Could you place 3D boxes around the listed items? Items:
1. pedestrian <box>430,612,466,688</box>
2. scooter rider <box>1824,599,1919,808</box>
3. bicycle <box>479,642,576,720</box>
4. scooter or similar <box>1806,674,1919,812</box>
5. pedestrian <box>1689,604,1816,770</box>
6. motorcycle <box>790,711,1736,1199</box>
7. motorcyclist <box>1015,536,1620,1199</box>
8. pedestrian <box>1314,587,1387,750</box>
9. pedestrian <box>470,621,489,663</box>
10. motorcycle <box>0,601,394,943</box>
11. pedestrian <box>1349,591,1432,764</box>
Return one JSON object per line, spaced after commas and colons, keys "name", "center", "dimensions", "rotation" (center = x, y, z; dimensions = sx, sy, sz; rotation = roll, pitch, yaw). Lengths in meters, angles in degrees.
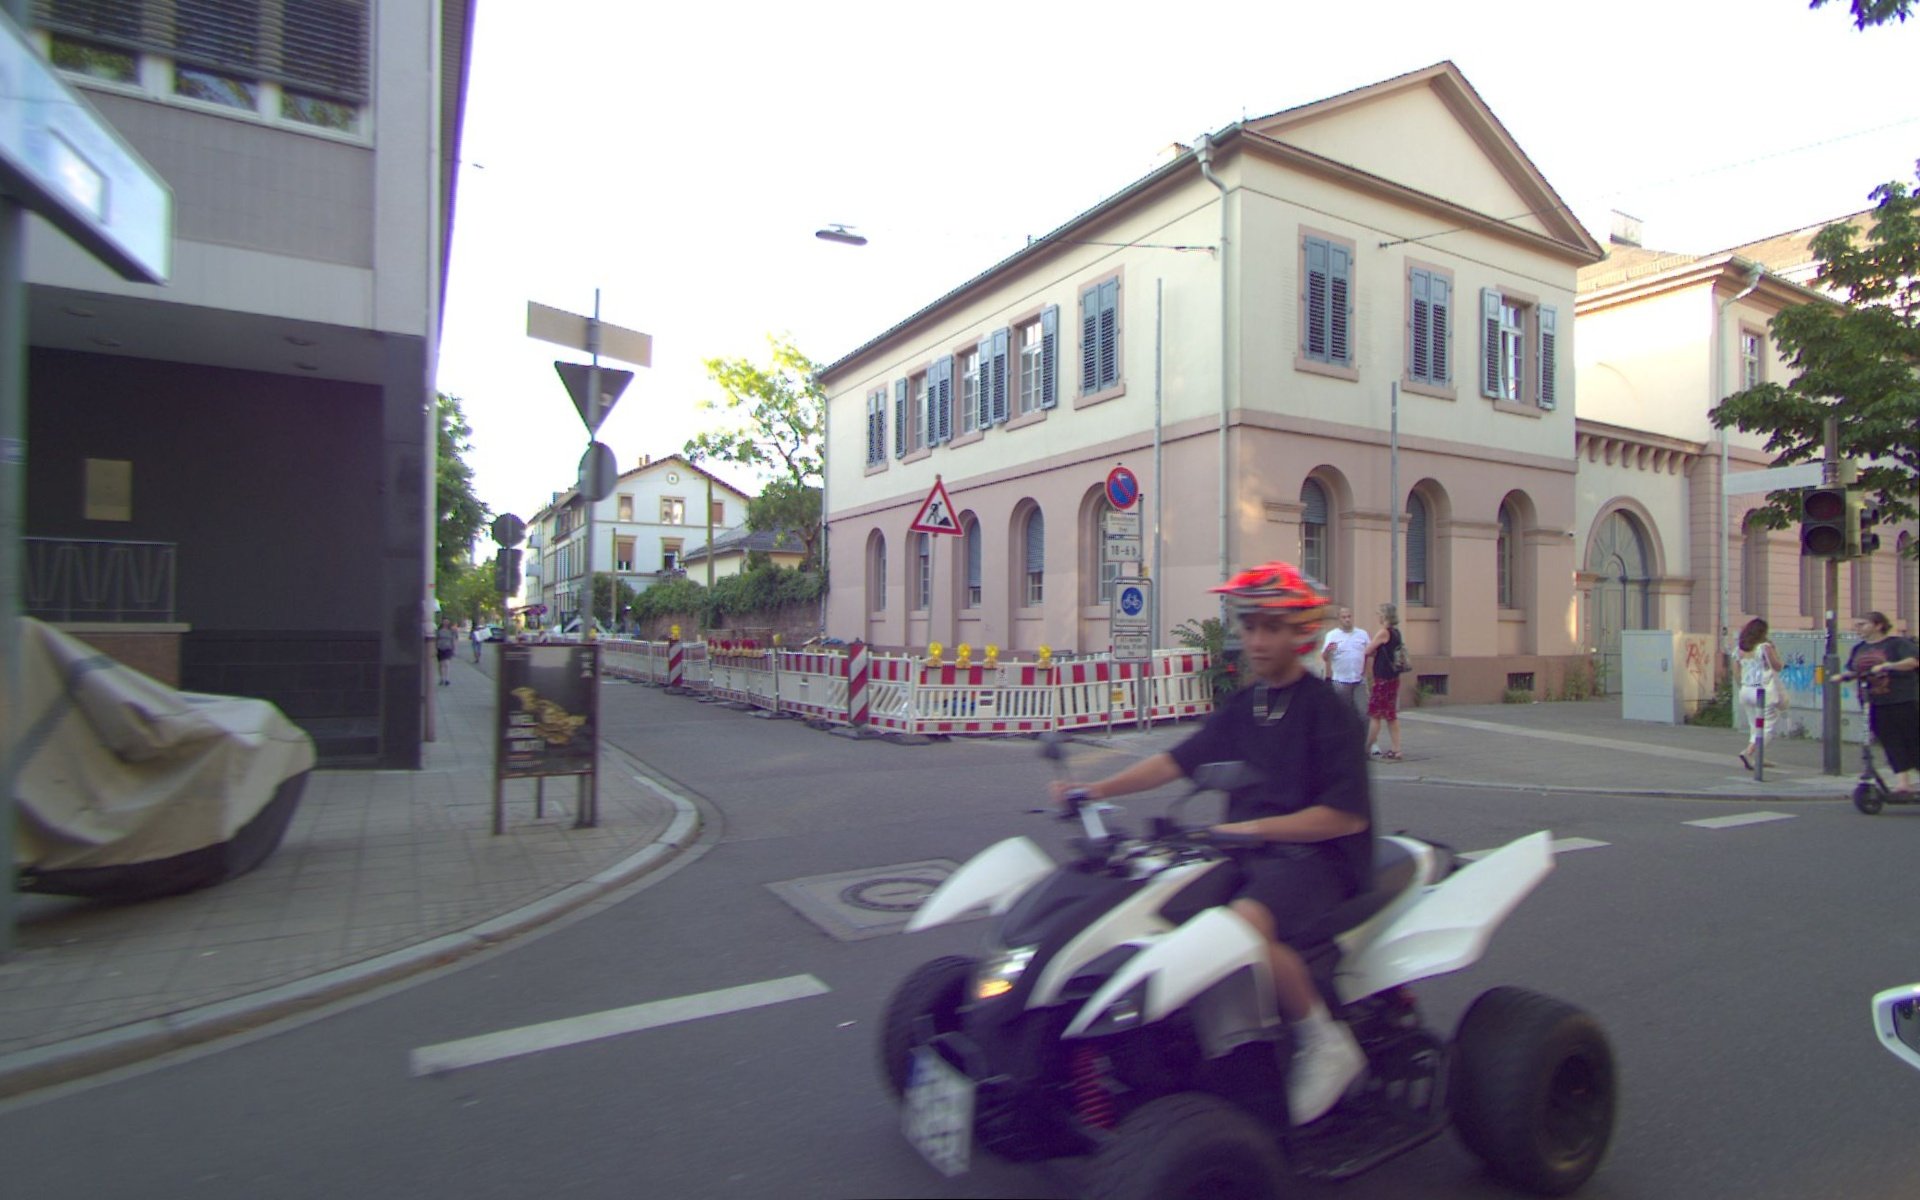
{"name": "pedestrian", "center": [-12.096, 1.177, 23.717], "dimensions": [0.579, 1.734, 0.650], "rotation": [6, -4, -30]}
{"name": "scooter rider", "center": [8.407, 0.913, 9.115], "dimensions": [0.861, 1.815, 0.493], "rotation": [1, -1, -20]}
{"name": "bicycle", "center": [-7.385, 1.343, 17.093], "dimensions": [2.206, 1.160, 0.719], "rotation": [1, -1, 45]}
{"name": "scooter or similar", "center": [8.336, 1.264, 9.082], "dimensions": [1.231, 1.160, 0.501], "rotation": [2, -2, -20]}
{"name": "pedestrian", "center": [9.103, 0.974, 11.563], "dimensions": [0.757, 1.815, 0.791], "rotation": [1, 1, -10]}
{"name": "motorcycle", "center": [0.870, 0.959, 2.843], "dimensions": [2.368, 1.104, 1.306], "rotation": [1, -2, -30]}
{"name": "motorcyclist", "center": [0.951, 0.697, 2.916], "dimensions": [1.064, 1.613, 1.274], "rotation": [1, -2, -29]}
{"name": "pedestrian", "center": [4.629, 0.797, 11.935], "dimensions": [0.601, 1.875, 0.554], "rotation": [1, -1, -16]}
{"name": "pedestrian", "center": [-20.406, 1.788, 42.663], "dimensions": [0.579, 1.734, 0.650], "rotation": [6, -4, -30]}
{"name": "motorcycle", "center": [-3.986, 0.764, 5.335], "dimensions": [0.950, 1.438, 2.153], "rotation": [1, -2, -8]}
{"name": "pedestrian", "center": [4.821, 0.844, 11.273], "dimensions": [0.601, 1.875, 0.554], "rotation": [-1, -1, -15]}
